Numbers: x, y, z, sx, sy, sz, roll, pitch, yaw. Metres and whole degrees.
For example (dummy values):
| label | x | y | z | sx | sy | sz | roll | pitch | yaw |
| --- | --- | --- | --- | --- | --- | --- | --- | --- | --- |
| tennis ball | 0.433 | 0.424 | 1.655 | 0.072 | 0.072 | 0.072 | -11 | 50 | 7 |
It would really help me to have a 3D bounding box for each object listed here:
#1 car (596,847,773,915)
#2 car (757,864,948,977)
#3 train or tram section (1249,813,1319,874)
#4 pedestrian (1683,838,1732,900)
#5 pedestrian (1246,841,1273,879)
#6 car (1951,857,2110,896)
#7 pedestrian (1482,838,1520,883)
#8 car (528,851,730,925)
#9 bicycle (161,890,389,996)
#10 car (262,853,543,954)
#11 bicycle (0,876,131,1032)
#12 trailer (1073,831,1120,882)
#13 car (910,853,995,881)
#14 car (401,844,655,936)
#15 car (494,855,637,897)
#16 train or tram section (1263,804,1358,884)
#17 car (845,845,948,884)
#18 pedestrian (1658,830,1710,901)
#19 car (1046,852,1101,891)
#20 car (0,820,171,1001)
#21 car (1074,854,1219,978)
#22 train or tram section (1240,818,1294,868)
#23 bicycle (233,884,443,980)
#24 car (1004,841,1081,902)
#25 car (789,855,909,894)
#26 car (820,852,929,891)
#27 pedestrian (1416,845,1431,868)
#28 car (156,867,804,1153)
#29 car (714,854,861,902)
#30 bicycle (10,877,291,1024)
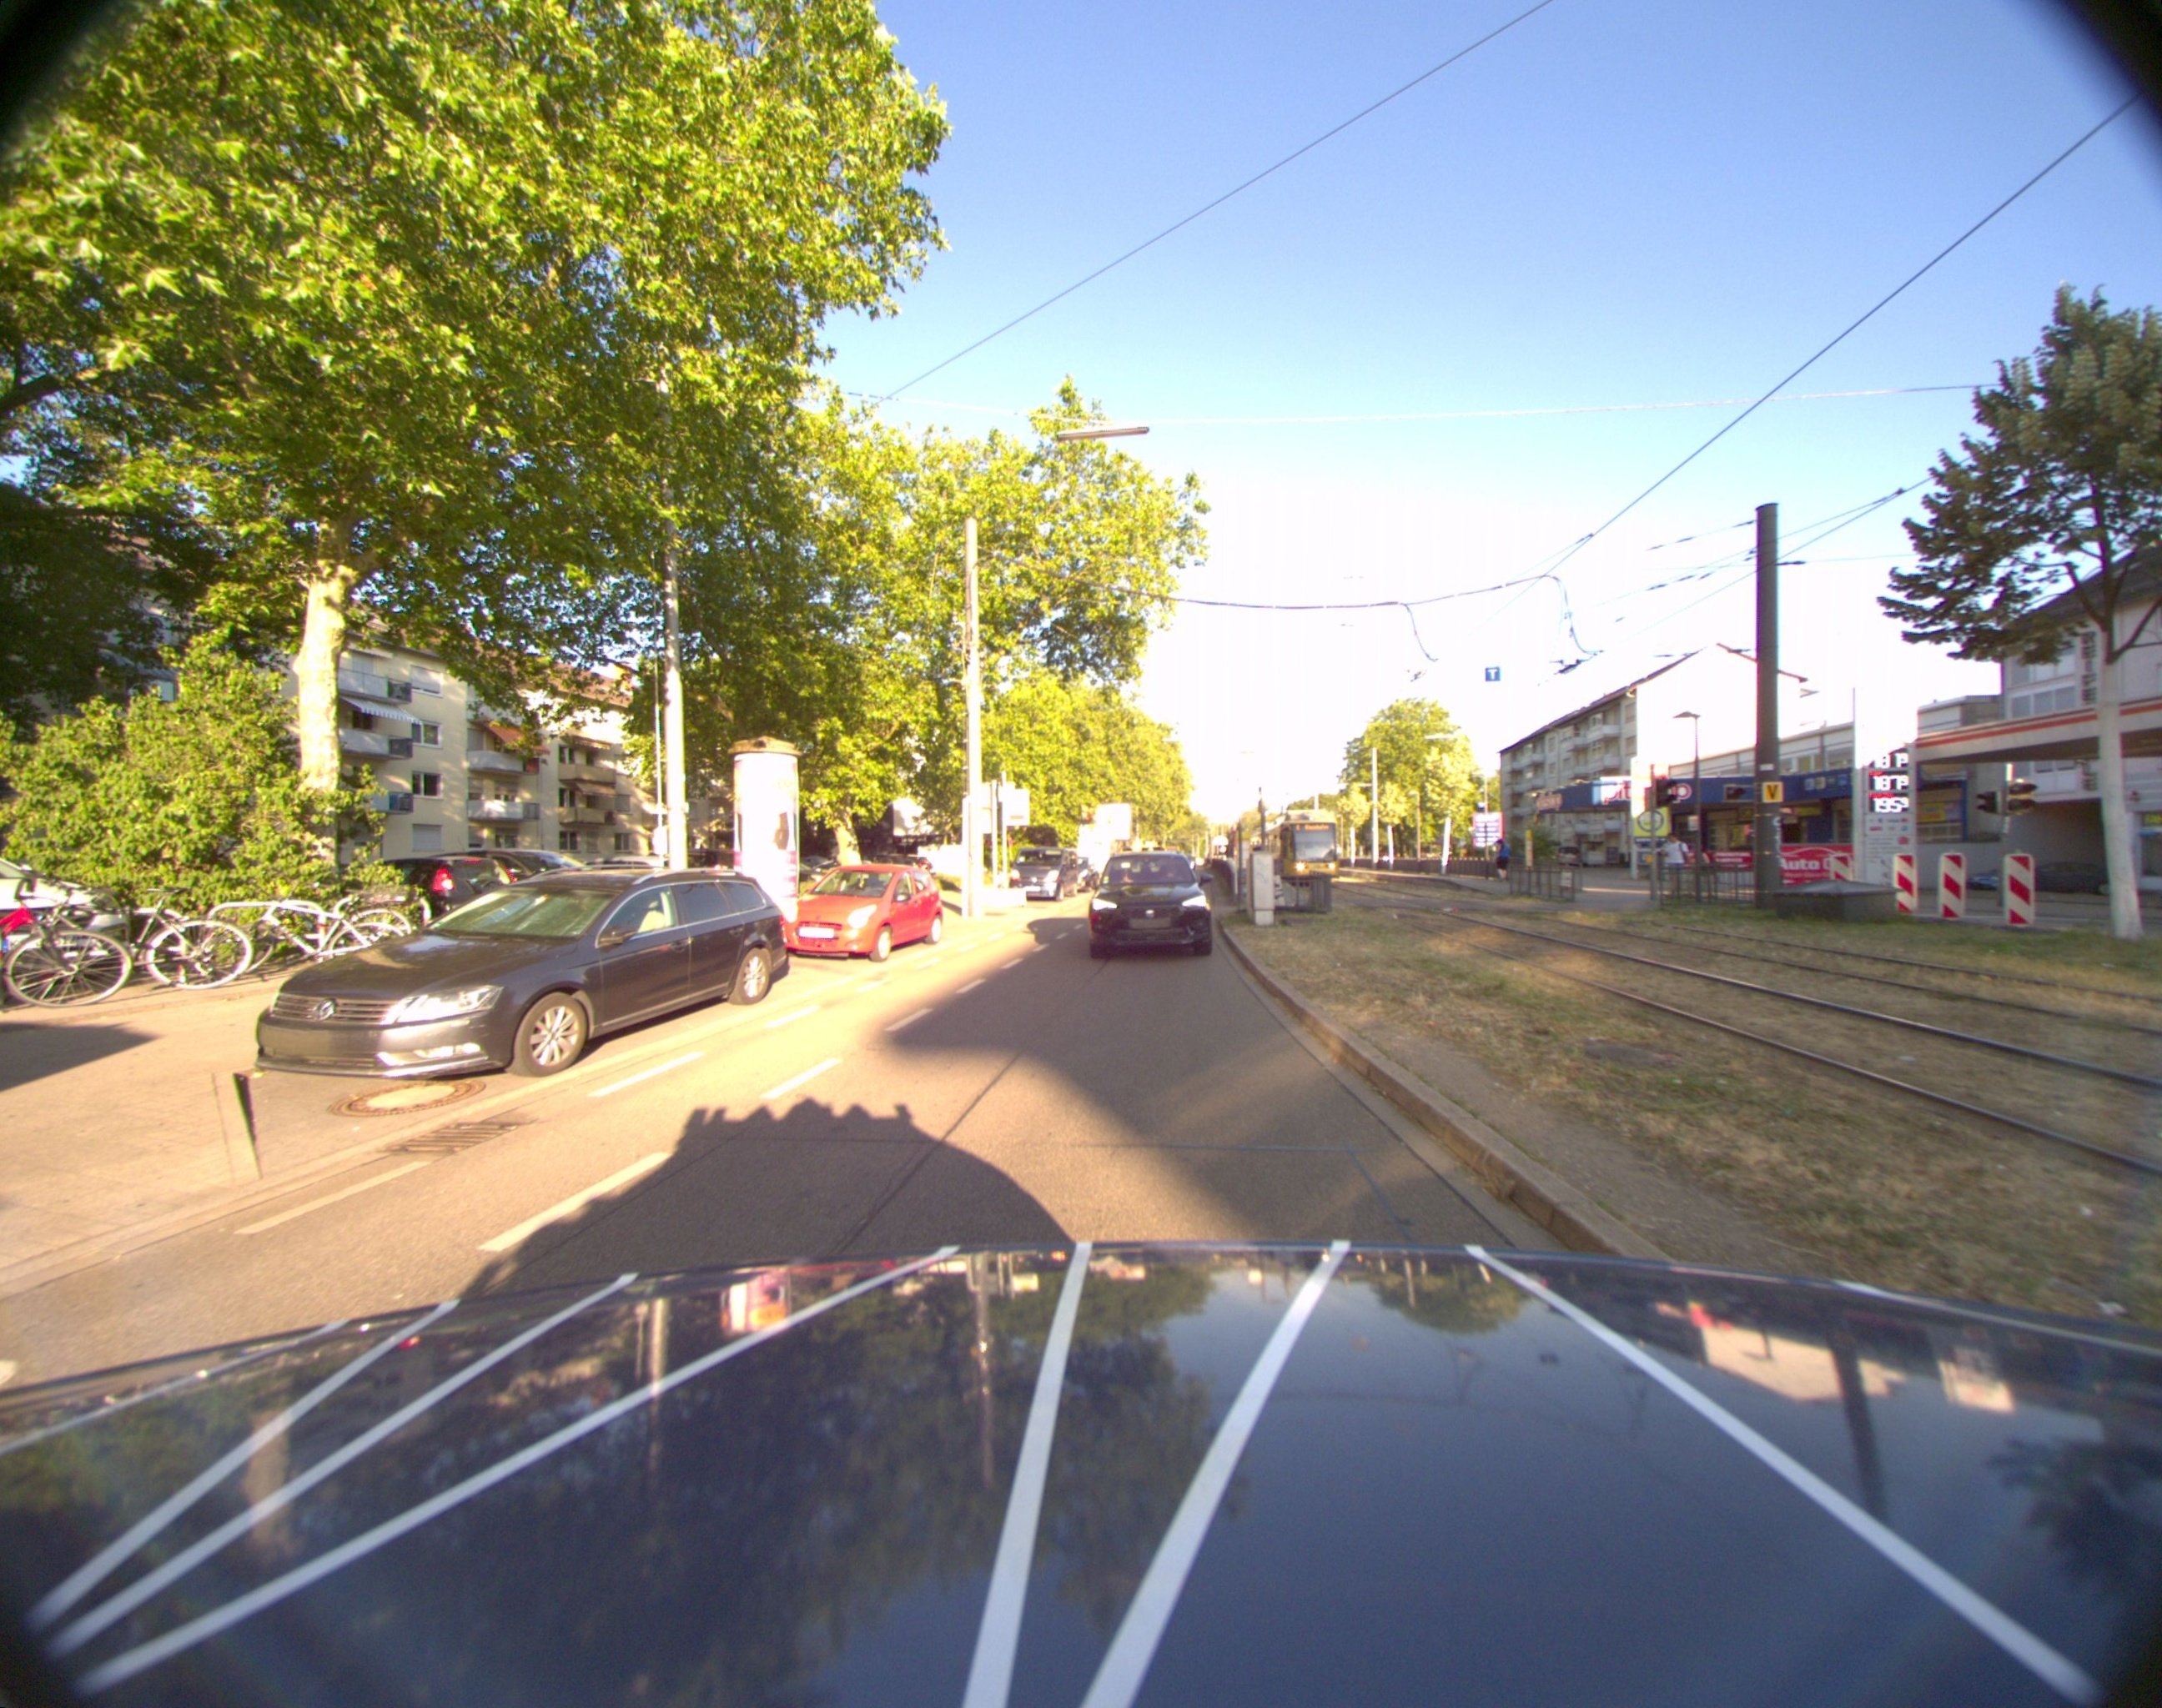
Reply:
| label | x | y | z | sx | sy | sz | roll | pitch | yaw |
| --- | --- | --- | --- | --- | --- | --- | --- | --- | --- |
| car | -10.666 | 0.701 | 20.579 | 3.847 | 1.622 | 1.858 | -2 | 0 | 10 |
| car | -3.590 | 0.966 | 12.629 | 1.572 | 1.486 | 3.628 | 2 | 1 | 9 |
| train or tram section | 12.644 | -0.672 | 48.201 | 3.041 | 3.497 | 10.102 | 1 | 1 | 8 |
| pedestrian | 18.049 | 0.431 | 21.913 | 0.754 | 1.737 | 0.861 | 0 | 1 | 6 |
| pedestrian | 7.572 | 0.255 | 32.319 | 0.918 | 1.541 | 0.789 | -2 | 1 | 1 |
| car | 39.054 | 0.920 | 31.370 | 3.800 | 1.514 | 1.819 | 0 | 0 | 12 |
| pedestrian | 16.047 | 0.233 | 29.059 | 0.936 | 1.644 | 0.926 | -3 | 0 | 9 |
| car | -10.833 | 0.794 | 18.337 | 3.847 | 1.486 | 1.858 | -3 | 0 | 10 |
| bicycle | -8.776 | 0.934 | 8.373 | 1.585 | 1.008 | 0.650 | -1 | 1 | -29 |
| car | -11.837 | 0.831 | 13.381 | 3.504 | 1.474 | 1.775 | -3 | 0 | 8 |
| bicycle | -9.148 | 0.835 | 6.186 | 1.585 | 1.219 | 0.650 | -3 | 1 | -29 |
| trailer | 0.922 | 0.110 | 41.116 | 1.888 | 2.573 | 4.654 | -1 | 0 | 9 |
| car | -7.197 | 0.738 | 42.846 | 4.290 | 1.487 | 2.001 | -1 | 0 | 6 |
| car | -11.364 | 0.725 | 15.762 | 4.029 | 1.591 | 1.857 | -3 | 0 | 8 |
| car | -19.945 | 0.838 | 29.488 | 4.290 | 1.526 | 2.001 | -1 | 0 | 6 |
| train or tram section | 11.225 | -0.516 | 38.199 | 3.041 | 3.497 | 10.102 | 1 | 1 | 8 |
| car | -8.390 | 0.468 | 34.755 | 4.119 | 1.541 | 1.804 | -3 | 0 | 10 |
| pedestrian | 16.619 | 0.319 | 20.953 | 0.859 | 1.921 | 0.756 | 0 | 1 | 7 |
| car | -0.275 | 0.750 | 34.141 | 1.799 | 1.621 | 4.003 | 0 | 0 | 9 |
| car | -12.404 | 0.658 | 7.623 | 4.627 | 1.699 | 2.001 | -3 | 0 | 8 |
| car | 1.066 | 0.851 | 12.398 | 1.910 | 1.606 | 4.087 | -3 | 0 | 5 |
| train or tram section | 14.067 | -0.824 | 58.222 | 3.041 | 3.497 | 10.102 | 1 | 1 | 8 |
| bicycle | -8.889 | 0.904 | 9.189 | 1.682 | 1.008 | 0.650 | 0 | 1 | -29 |
| car | -1.303 | 0.582 | 27.941 | 1.888 | 2.066 | 4.566 | -1 | 0 | 9 |
| car | -9.084 | 0.792 | 29.891 | 4.119 | 1.486 | 1.804 | 0 | 0 | 10 |
| car | -8.831 | 0.742 | 32.618 | 4.119 | 1.589 | 1.804 | 0 | 0 | 10 |
| pedestrian | 27.976 | 0.213 | 62.027 | 0.754 | 1.871 | 1.001 | -3 | 0 | 8 |
| car | -4.538 | 0.962 | 6.894 | 1.699 | 1.522 | 4.655 | 2 | 1 | 9 |
| car | -9.498 | 0.757 | 24.740 | 4.119 | 1.486 | 1.804 | 0 | 0 | 10 |
| bicycle | -8.826 | 0.857 | 7.319 | 1.586 | 1.219 | 0.646 | -1 | 1 | -37 |
